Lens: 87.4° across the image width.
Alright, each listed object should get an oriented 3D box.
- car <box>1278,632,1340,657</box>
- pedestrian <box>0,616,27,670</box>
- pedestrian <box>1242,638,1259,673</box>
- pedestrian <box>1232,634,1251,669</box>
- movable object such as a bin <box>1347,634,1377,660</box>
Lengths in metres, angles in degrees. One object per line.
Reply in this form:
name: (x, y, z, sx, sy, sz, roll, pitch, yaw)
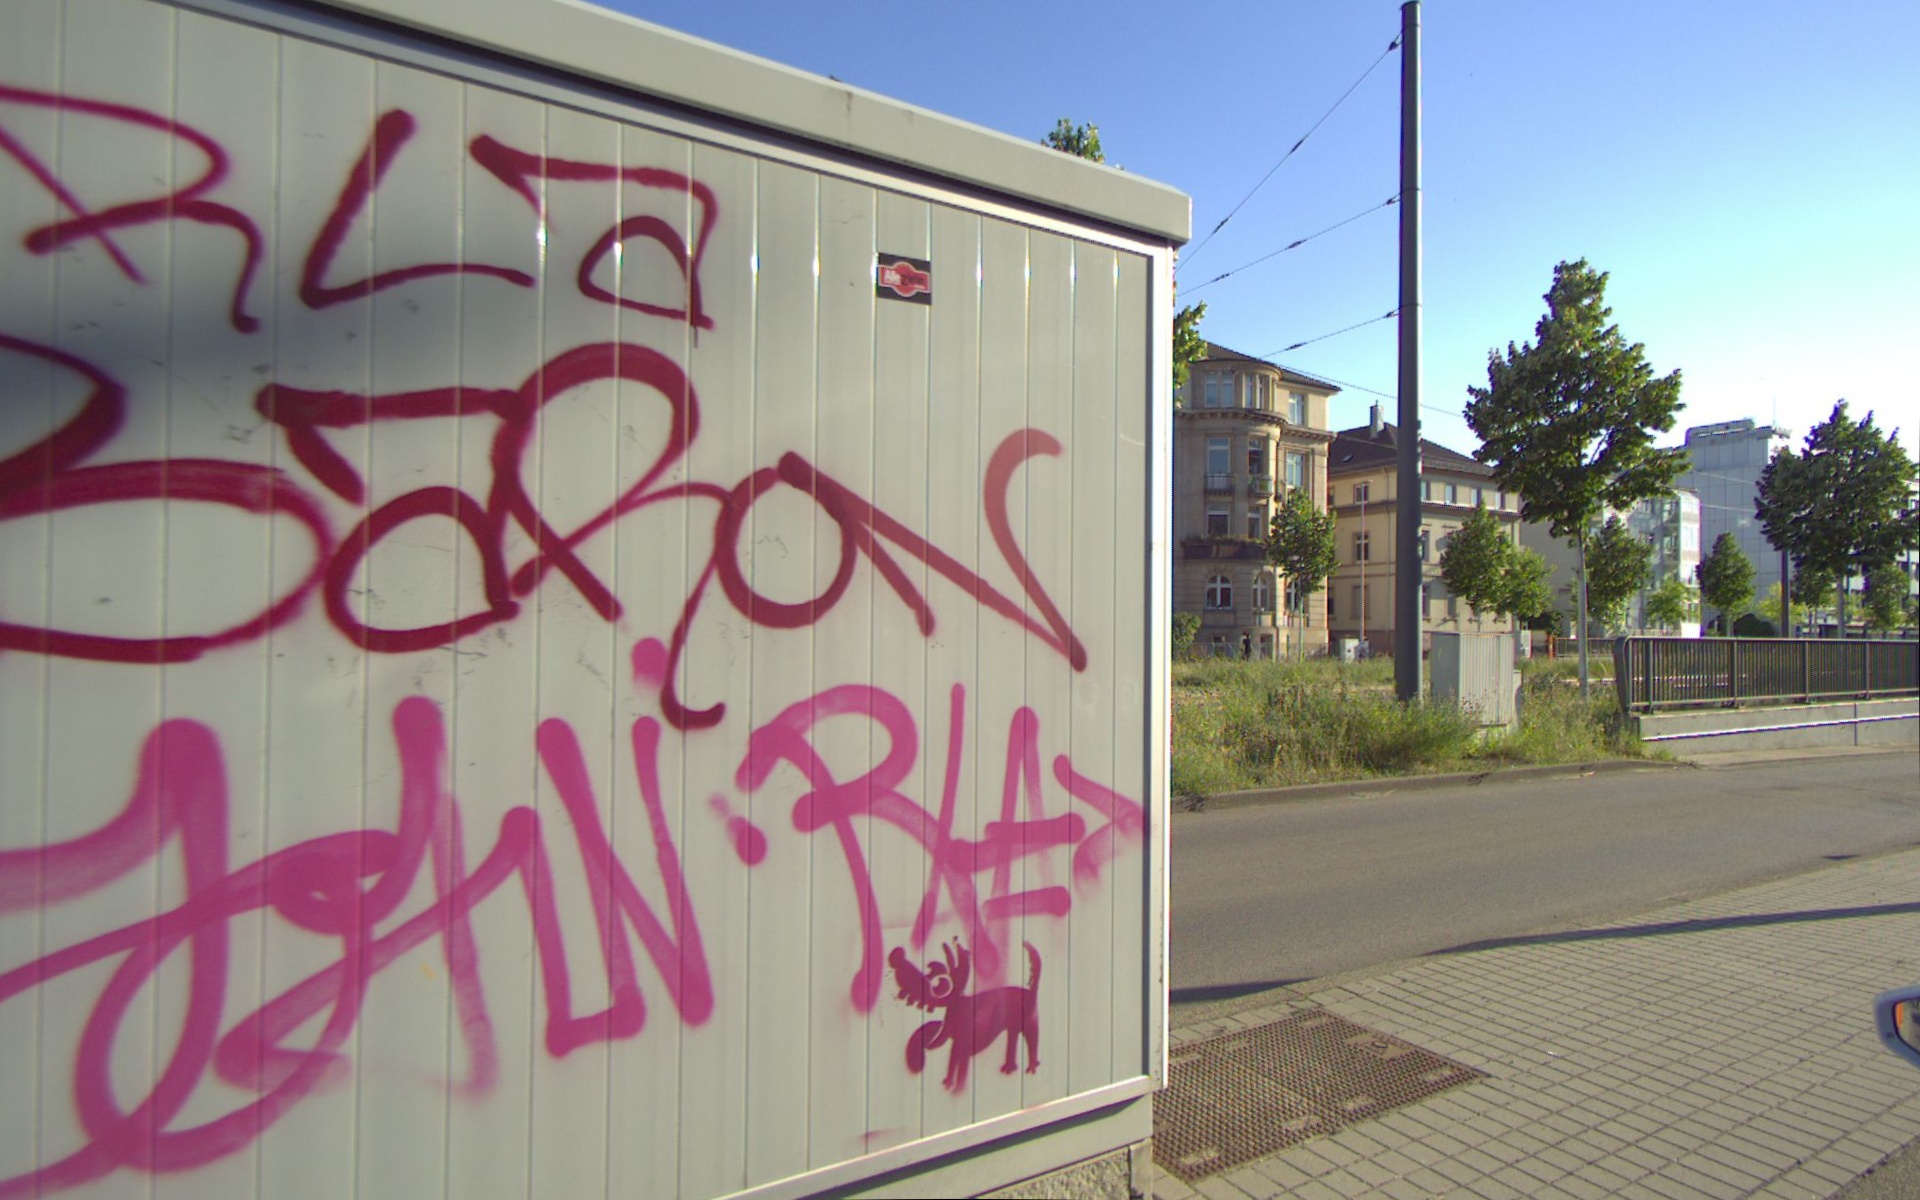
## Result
car: (24.417, 3.112, 70.403, 1.661, 1.488, 3.970, 3, -1, -28)
pedestrian: (-28.213, 1.279, 29.912, 0.515, 1.576, 0.445, 1, -1, -30)
pedestrian: (14.605, 2.775, 50.481, 0.645, 1.743, 0.552, 1, -1, -31)
pedestrian: (14.307, 2.629, 51.065, 0.645, 1.743, 0.652, 1, -1, -31)
movable object such as a bin: (22.878, 2.648, 57.221, 1.067, 1.448, 1.199, 1, -2, -30)
